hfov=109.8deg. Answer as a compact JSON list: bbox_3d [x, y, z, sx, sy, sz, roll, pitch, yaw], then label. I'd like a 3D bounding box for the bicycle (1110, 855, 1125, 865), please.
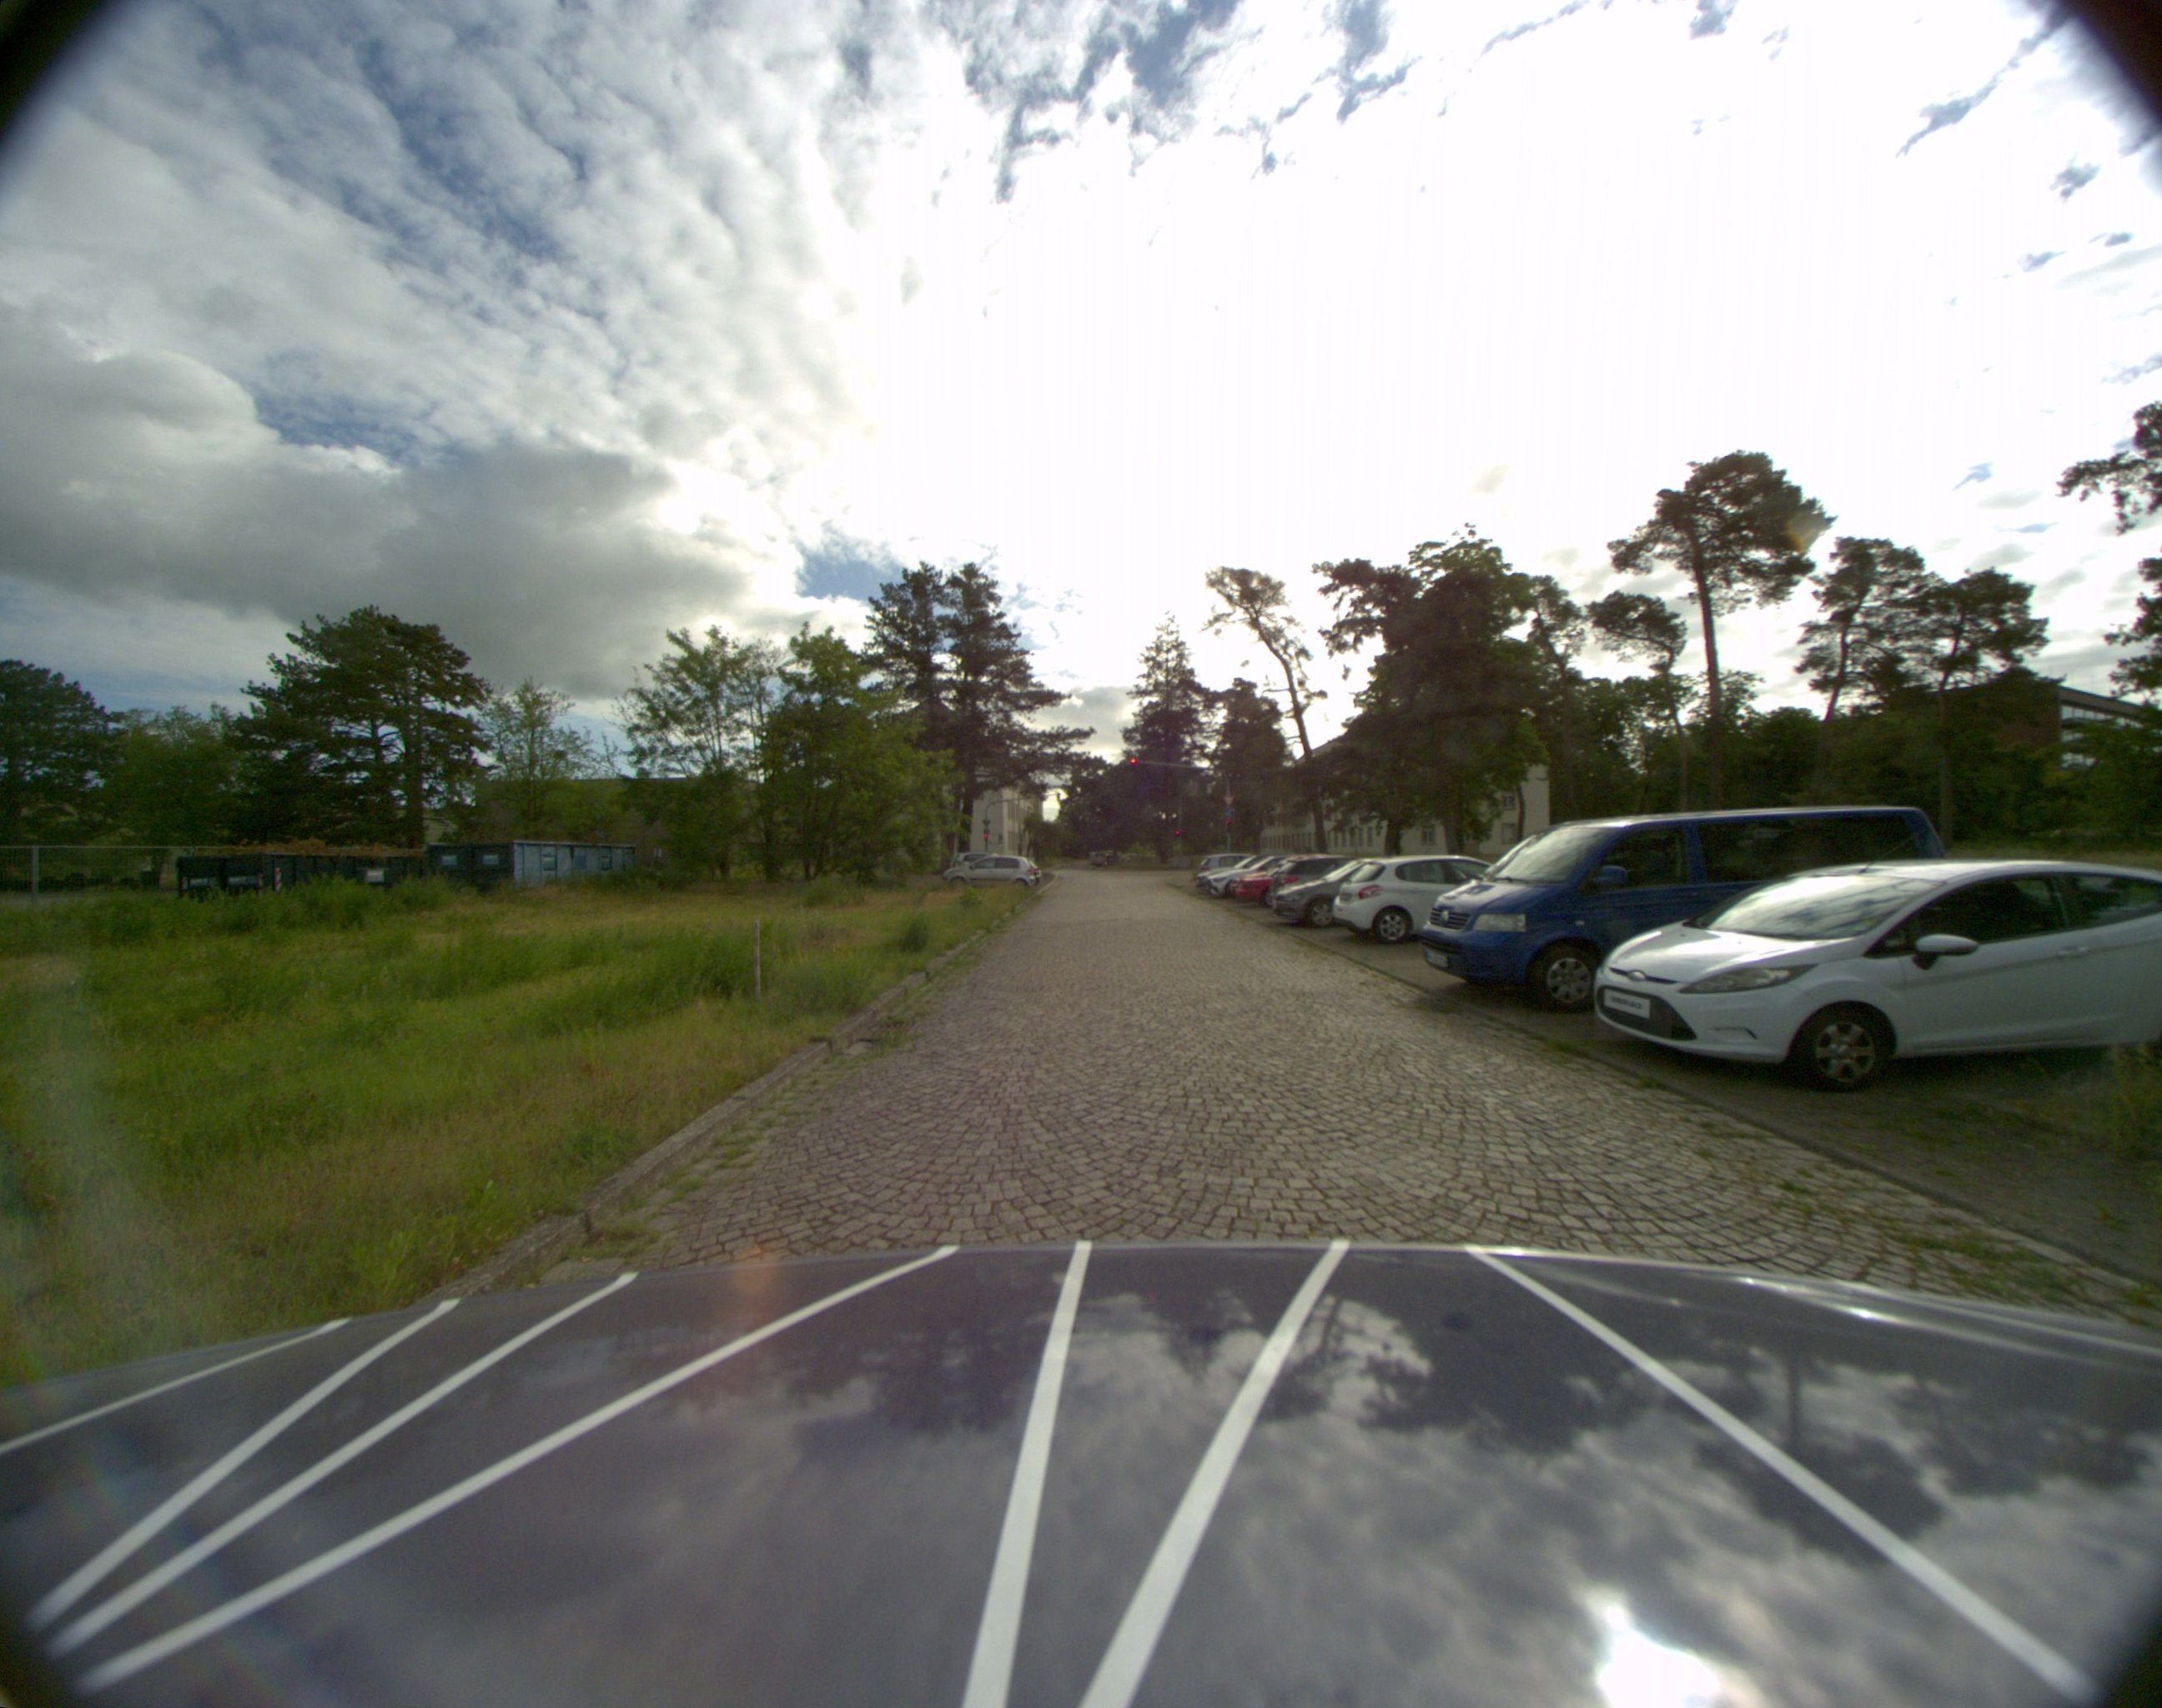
[{"bbox_3d":[3.898,0.659,81.621,1.457,1.033,0.497,-4,1,-4],"label":"bicycle"}]

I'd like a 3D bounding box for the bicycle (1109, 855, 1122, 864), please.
[{"bbox_3d":[3.956,0.630,87.538,1.457,1.033,0.497,-4,1,-4],"label":"bicycle"}]

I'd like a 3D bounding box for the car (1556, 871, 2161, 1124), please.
[{"bbox_3d":[6.006,0.926,5.710,3.803,1.484,1.726,-1,0,-1],"label":"car"}]

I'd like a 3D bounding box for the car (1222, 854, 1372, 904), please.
[{"bbox_3d":[6.834,0.775,24.377,4.264,1.447,1.855,-1,0,1],"label":"car"}]

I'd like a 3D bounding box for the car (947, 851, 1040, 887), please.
[{"bbox_3d":[-4.178,0.708,36.705,4.342,1.565,1.826,2,1,-4],"label":"car"}]

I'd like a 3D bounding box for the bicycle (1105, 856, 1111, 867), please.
[{"bbox_3d":[2.781,0.721,77.844,0.497,1.068,1.416,-3,1,0],"label":"bicycle"}]

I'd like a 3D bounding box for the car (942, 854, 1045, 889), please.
[{"bbox_3d":[-3.852,0.776,34.014,4.377,1.397,1.796,2,0,-1],"label":"car"}]

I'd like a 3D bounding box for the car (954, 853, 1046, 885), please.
[{"bbox_3d":[-4.125,0.769,39.283,4.562,1.417,1.826,2,1,-2],"label":"car"}]

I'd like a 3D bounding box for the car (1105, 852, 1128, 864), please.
[{"bbox_3d":[4.477,0.510,95.590,2.771,1.407,1.592,-3,0,0],"label":"car"}]

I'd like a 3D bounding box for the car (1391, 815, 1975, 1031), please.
[{"bbox_3d":[6.160,0.665,8.272,4.721,1.969,2.038,-1,0,0],"label":"car"}]

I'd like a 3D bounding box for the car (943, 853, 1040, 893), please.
[{"bbox_3d":[-3.626,0.781,31.308,3.782,1.471,1.743,2,0,-2],"label":"car"}]

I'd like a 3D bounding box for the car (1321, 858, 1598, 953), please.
[{"bbox_3d":[6.584,0.873,13.568,4.014,1.493,1.843,-1,0,2],"label":"car"}]

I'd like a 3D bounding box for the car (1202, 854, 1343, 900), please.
[{"bbox_3d":[6.636,0.774,26.690,4.447,1.447,1.949,-1,1,2],"label":"car"}]

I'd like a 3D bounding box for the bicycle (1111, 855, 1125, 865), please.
[{"bbox_3d":[4.041,0.656,82.654,1.457,1.033,0.497,-4,1,-4],"label":"bicycle"}]

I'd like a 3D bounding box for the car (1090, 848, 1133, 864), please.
[{"bbox_3d":[3.950,0.277,98.933,5.172,1.905,2.034,-3,0,-13],"label":"car"}]

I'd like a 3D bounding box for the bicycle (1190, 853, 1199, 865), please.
[{"bbox_3d":[10.224,0.448,68.423,0.497,1.068,1.416,-3,1,-2],"label":"bicycle"}]

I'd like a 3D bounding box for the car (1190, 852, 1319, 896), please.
[{"bbox_3d":[6.644,0.750,29.376,4.513,1.528,1.870,-1,1,-2],"label":"car"}]

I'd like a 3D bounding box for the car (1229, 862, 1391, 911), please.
[{"bbox_3d":[6.542,0.919,22.001,4.141,1.276,1.764,-1,0,1],"label":"car"}]

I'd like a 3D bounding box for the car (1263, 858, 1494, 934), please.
[{"bbox_3d":[6.287,0.876,16.439,4.314,1.472,1.731,-1,0,2],"label":"car"}]

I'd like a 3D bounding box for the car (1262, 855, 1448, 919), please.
[{"bbox_3d":[6.845,0.811,19.313,4.098,1.472,1.755,-1,0,2],"label":"car"}]

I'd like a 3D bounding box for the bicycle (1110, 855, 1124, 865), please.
[{"bbox_3d":[3.825,0.651,80.826,1.457,1.033,0.497,-4,1,-7],"label":"bicycle"}]

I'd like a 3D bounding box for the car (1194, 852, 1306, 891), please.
[{"bbox_3d":[7.034,0.723,31.997,4.339,1.462,1.827,-1,1,2],"label":"car"}]
